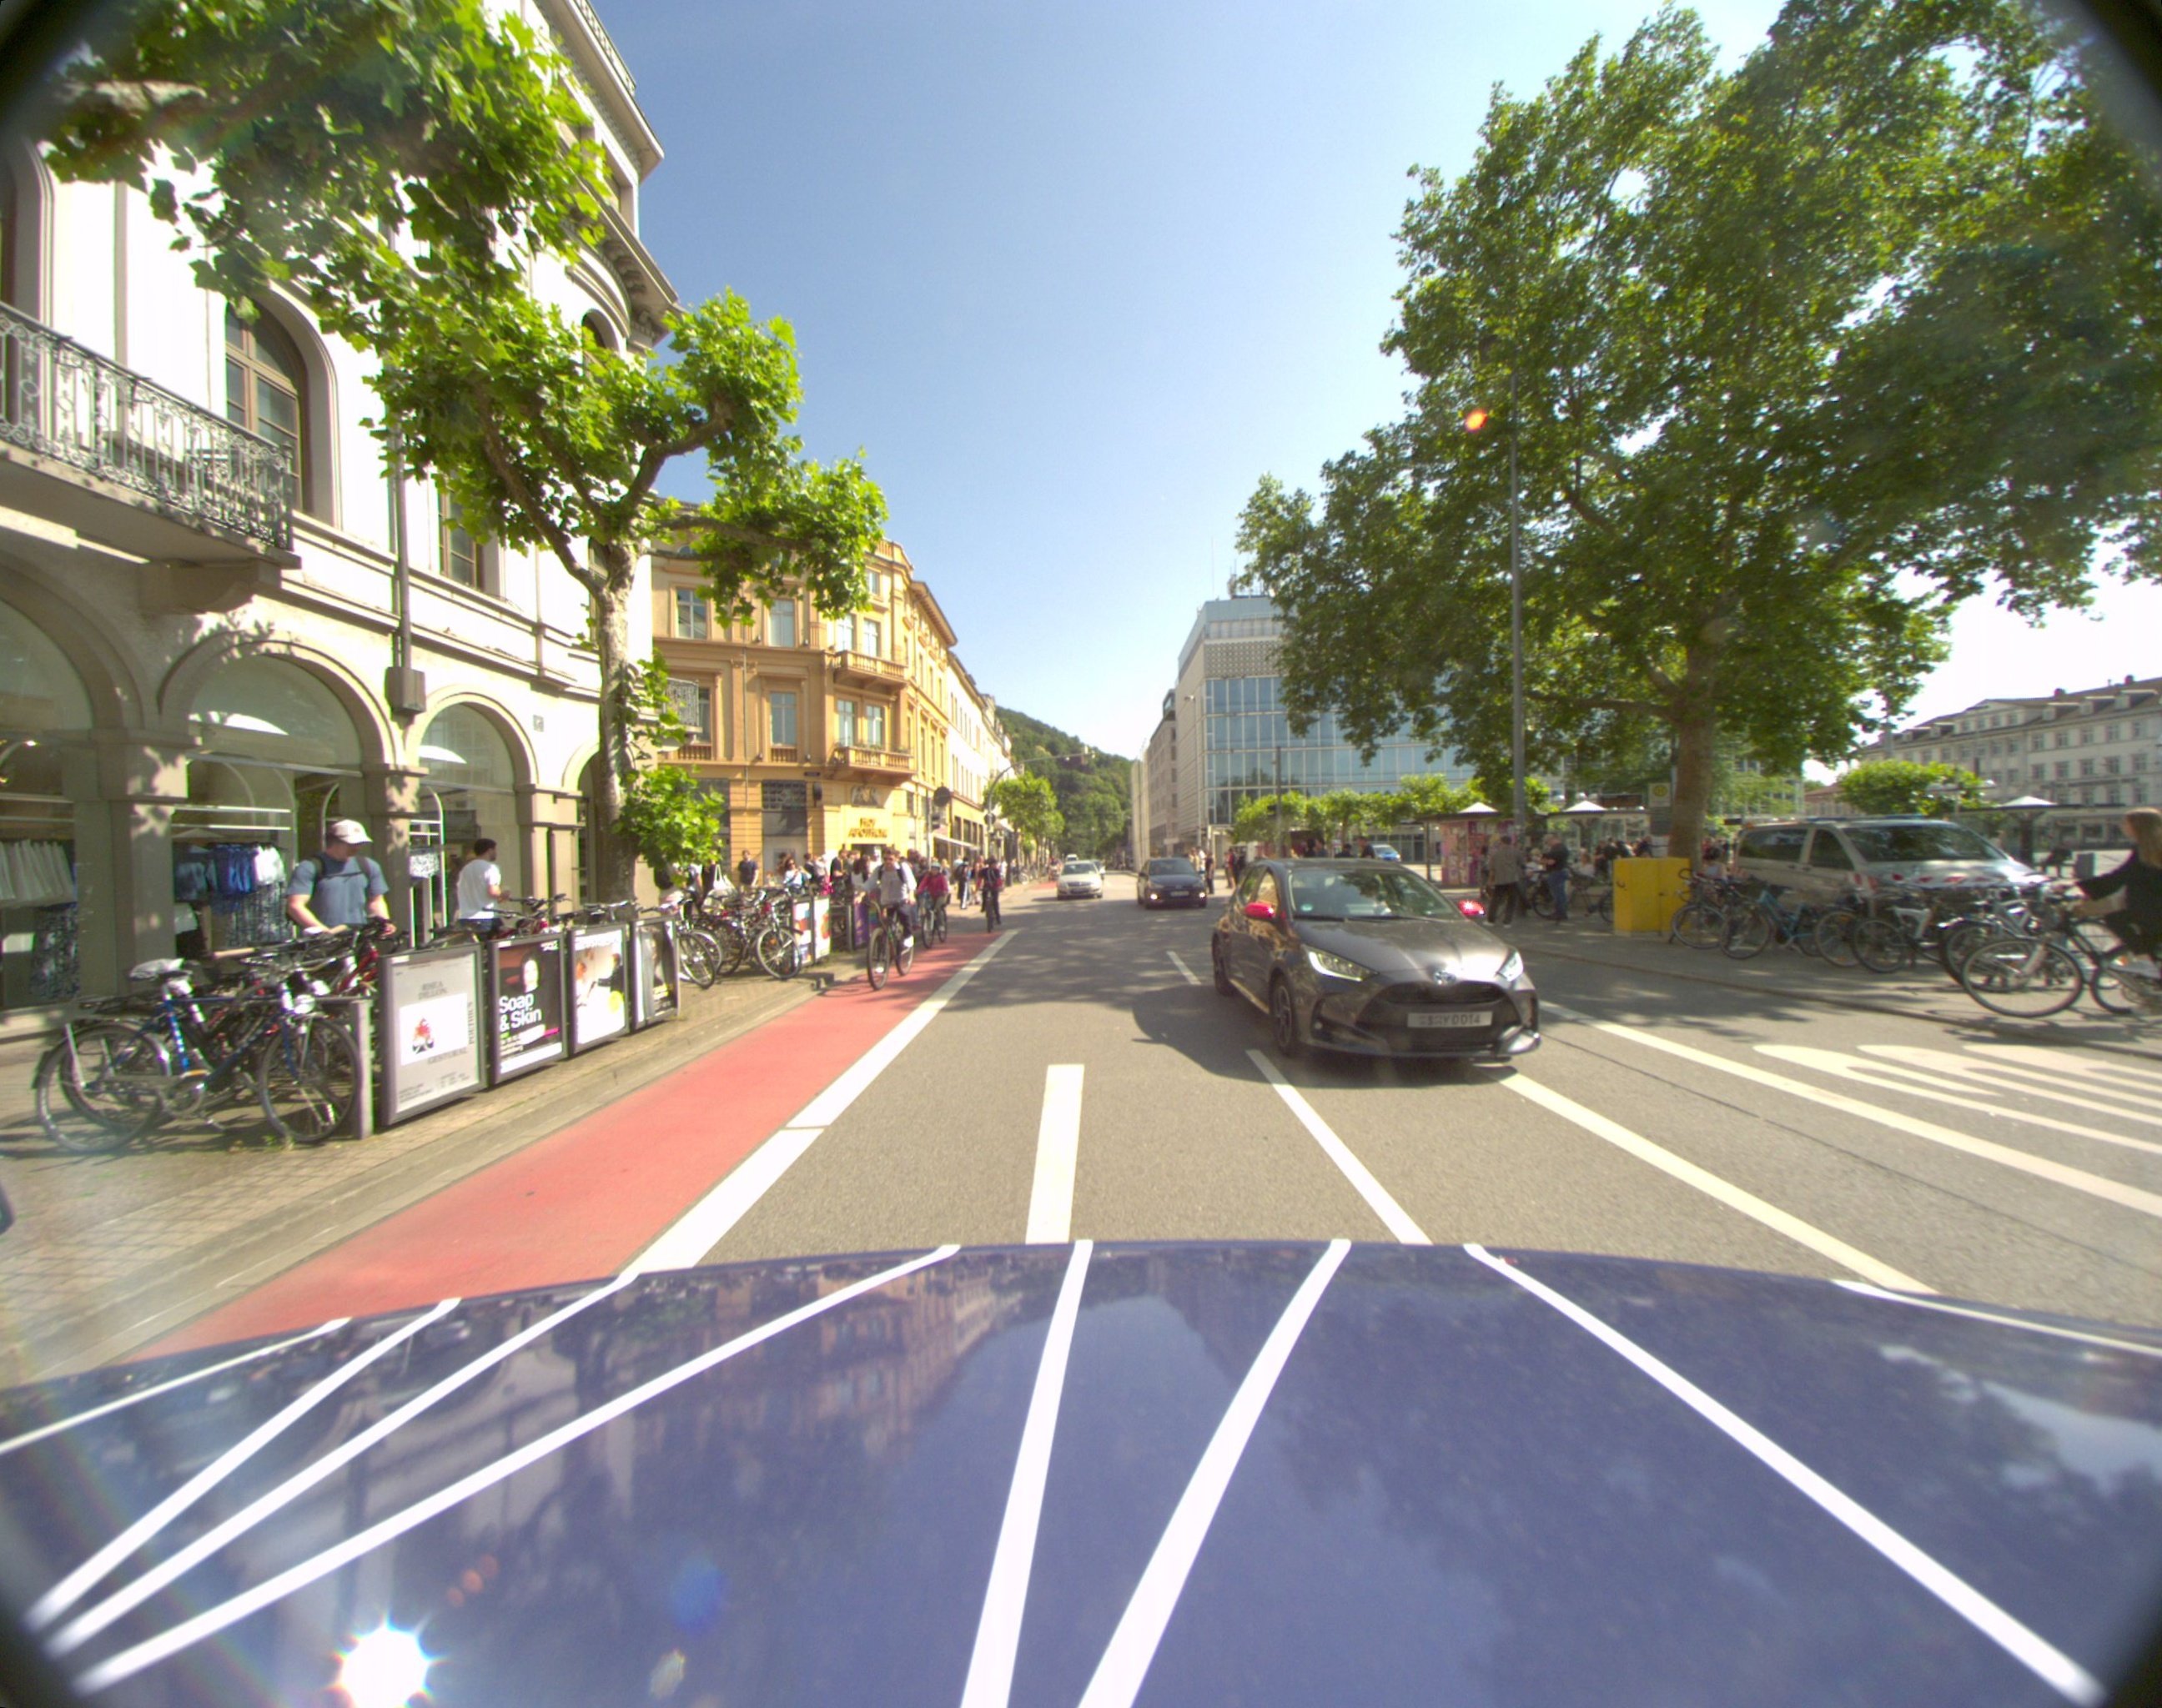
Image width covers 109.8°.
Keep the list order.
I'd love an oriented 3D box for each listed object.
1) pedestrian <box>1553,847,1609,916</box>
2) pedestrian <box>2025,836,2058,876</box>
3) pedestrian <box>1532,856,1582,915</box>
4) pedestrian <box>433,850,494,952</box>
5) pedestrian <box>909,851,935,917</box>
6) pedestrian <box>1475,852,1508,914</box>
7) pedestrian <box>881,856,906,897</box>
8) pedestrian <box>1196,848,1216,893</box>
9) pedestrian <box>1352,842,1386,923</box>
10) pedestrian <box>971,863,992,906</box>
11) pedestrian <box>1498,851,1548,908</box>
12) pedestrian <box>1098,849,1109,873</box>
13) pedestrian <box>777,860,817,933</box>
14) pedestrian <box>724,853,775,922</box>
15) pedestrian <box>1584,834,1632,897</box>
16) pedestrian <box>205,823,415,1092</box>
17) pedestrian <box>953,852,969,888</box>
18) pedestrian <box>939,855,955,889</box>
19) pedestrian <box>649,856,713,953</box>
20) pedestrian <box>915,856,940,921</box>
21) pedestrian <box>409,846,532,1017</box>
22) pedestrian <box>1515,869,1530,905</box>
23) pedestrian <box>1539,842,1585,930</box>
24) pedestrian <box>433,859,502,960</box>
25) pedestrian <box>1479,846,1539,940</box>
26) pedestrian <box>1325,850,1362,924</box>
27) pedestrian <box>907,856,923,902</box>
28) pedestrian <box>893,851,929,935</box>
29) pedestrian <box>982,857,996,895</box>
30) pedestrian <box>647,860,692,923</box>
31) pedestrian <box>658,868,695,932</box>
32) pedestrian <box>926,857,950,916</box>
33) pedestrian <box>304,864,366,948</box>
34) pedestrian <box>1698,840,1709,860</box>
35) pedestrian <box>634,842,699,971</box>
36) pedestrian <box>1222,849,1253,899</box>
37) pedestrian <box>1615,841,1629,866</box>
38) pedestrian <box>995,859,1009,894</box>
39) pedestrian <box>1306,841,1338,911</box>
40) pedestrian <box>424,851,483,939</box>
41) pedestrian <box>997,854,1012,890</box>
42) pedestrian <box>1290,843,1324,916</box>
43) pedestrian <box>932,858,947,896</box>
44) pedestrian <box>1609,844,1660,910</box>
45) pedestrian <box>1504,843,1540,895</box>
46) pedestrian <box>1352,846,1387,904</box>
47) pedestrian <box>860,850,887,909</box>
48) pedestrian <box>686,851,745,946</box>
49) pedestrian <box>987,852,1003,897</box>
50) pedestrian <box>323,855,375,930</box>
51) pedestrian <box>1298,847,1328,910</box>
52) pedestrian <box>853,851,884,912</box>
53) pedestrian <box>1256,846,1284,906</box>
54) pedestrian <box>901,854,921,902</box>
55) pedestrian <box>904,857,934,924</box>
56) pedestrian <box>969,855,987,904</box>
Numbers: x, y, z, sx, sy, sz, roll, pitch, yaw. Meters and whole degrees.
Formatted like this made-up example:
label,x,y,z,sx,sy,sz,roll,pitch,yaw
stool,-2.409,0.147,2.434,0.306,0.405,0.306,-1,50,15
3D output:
label,x,y,z,sx,sy,sz,roll,pitch,yaw
pedestrian,12.107,0.655,18.402,0.752,1.587,0.782,-3,1,-10
pedestrian,36.644,0.074,28.989,0.554,1.464,0.532,-3,1,7
pedestrian,11.987,0.780,19.140,0.752,1.416,0.673,-3,1,-10
pedestrian,-11.029,0.833,13.576,0.620,1.754,0.608,-2,1,34
pedestrian,-4.346,0.807,20.814,0.578,1.774,0.699,0,1,-3
pedestrian,11.939,0.829,22.103,0.750,1.737,0.784,-3,1,27
pedestrian,-8.293,0.991,33.608,0.733,1.794,0.750,-1,1,32
pedestrian,5.327,0.695,32.494,0.639,1.903,0.733,-3,1,-2
pedestrian,6.645,0.644,17.540,0.517,1.825,0.716,-3,1,8
pedestrian,-3.503,1.051,26.672,0.673,1.488,0.637,0,1,-14
pedestrian,11.553,0.651,19.861,0.752,1.399,0.782,-3,1,-10
pedestrian,1.662,0.530,55.699,0.699,1.774,0.578,0,1,-6
pedestrian,-6.362,0.947,17.015,0.517,1.574,0.584,-2,1,40
pedestrian,-8.882,0.880,20.384,0.621,1.748,1.187,-3,1,8
pedestrian,15.117,0.337,21.805,0.752,1.737,0.782,-3,1,-10
pedestrian,-5.868,0.742,5.840,0.702,1.891,0.776,-3,1,-2
pedestrian,-6.102,0.802,38.678,0.758,1.782,0.859,-1,0,-11
pedestrian,-6.814,0.899,38.585,0.688,1.675,0.578,-1,0,-5
pedestrian,-7.655,0.936,14.558,0.721,1.772,0.776,-3,1,-2
pedestrian,-4.069,0.905,20.162,0.569,1.675,0.591,0,1,-3
pedestrian,-6.737,0.819,8.428,0.635,1.782,0.776,-3,1,-2
pedestrian,12.241,0.911,21.065,0.339,0.961,0.282,-3,1,31
pedestrian,9.792,0.634,15.470,0.516,1.732,0.518,-3,1,-13
pedestrian,-10.548,0.941,13.075,0.620,1.658,0.688,-2,1,34
pedestrian,8.021,0.711,14.250,0.643,1.682,0.642,-3,1,-13
pedestrian,6.009,0.743,17.366,0.630,1.639,0.753,-3,1,26
pedestrian,-6.246,0.941,28.635,0.444,1.679,0.478,-1,1,1
pedestrian,-3.838,0.860,17.204,0.578,1.835,0.717,-3,1,-3
pedestrian,-4.124,0.988,34.086,0.578,1.674,0.676,0,0,-12
pedestrian,-11.172,1.004,20.655,0.798,1.638,0.622,-3,1,0
pedestrian,-11.583,1.305,21.793,0.578,1.744,0.699,-3,1,1
pedestrian,-4.139,0.933,21.983,0.578,1.675,0.669,1,1,-3
pedestrian,-15.202,1.045,15.497,0.622,1.658,0.578,-3,0,-10
pedestrian,45.981,-0.309,56.141,0.554,1.464,0.759,-2,1,37
pedestrian,-6.245,0.774,11.476,0.546,1.871,0.602,-3,1,-2
pedestrian,5.610,0.695,27.237,0.876,1.737,0.733,-3,1,-2
pedestrian,31.093,-0.034,43.669,0.464,1.375,0.437,-3,1,-2
pedestrian,-3.646,1.054,35.068,0.531,1.586,0.588,1,1,-12
pedestrian,6.434,0.583,20.323,0.595,1.835,0.738,0,1,-2
pedestrian,-13.564,0.866,16.443,0.622,1.835,0.790,-3,1,-14
pedestrian,-3.822,0.891,38.009,0.651,1.770,0.621,0,2,-17
pedestrian,5.733,0.636,19.243,0.537,1.773,0.745,-2,1,35
pedestrian,-6.251,0.992,33.527,0.578,1.650,0.621,-1,0,-12
pedestrian,15.207,0.616,20.887,0.752,1.737,0.782,-3,1,-10
pedestrian,15.463,0.521,26.662,0.751,1.737,0.782,-3,1,-2
pedestrian,9.071,0.652,23.896,0.751,1.737,0.666,-3,1,-2
pedestrian,-6.666,0.813,24.422,0.578,1.835,0.622,-3,1,1
pedestrian,-6.940,0.817,14.454,0.676,1.730,0.753,-3,1,-2
pedestrian,-3.665,0.868,32.507,0.578,1.863,0.680,1,0,-12
pedestrian,-18.483,0.962,19.200,0.578,1.835,0.622,-3,1,1
pedestrian,6.433,0.666,21.078,0.604,1.705,0.606,-1,1,-2
pedestrian,-6.619,0.843,23.686,0.665,1.835,0.622,-3,1,0
pedestrian,5.648,0.643,22.737,0.612,1.737,0.752,-2,1,-2
pedestrian,-6.597,0.921,29.470,0.578,1.804,0.605,1,1,2
pedestrian,-4.164,0.929,19.554,0.578,1.675,0.622,-3,1,-3
pedestrian,-3.713,0.922,27.432,0.578,1.719,0.718,1,-1,-8
